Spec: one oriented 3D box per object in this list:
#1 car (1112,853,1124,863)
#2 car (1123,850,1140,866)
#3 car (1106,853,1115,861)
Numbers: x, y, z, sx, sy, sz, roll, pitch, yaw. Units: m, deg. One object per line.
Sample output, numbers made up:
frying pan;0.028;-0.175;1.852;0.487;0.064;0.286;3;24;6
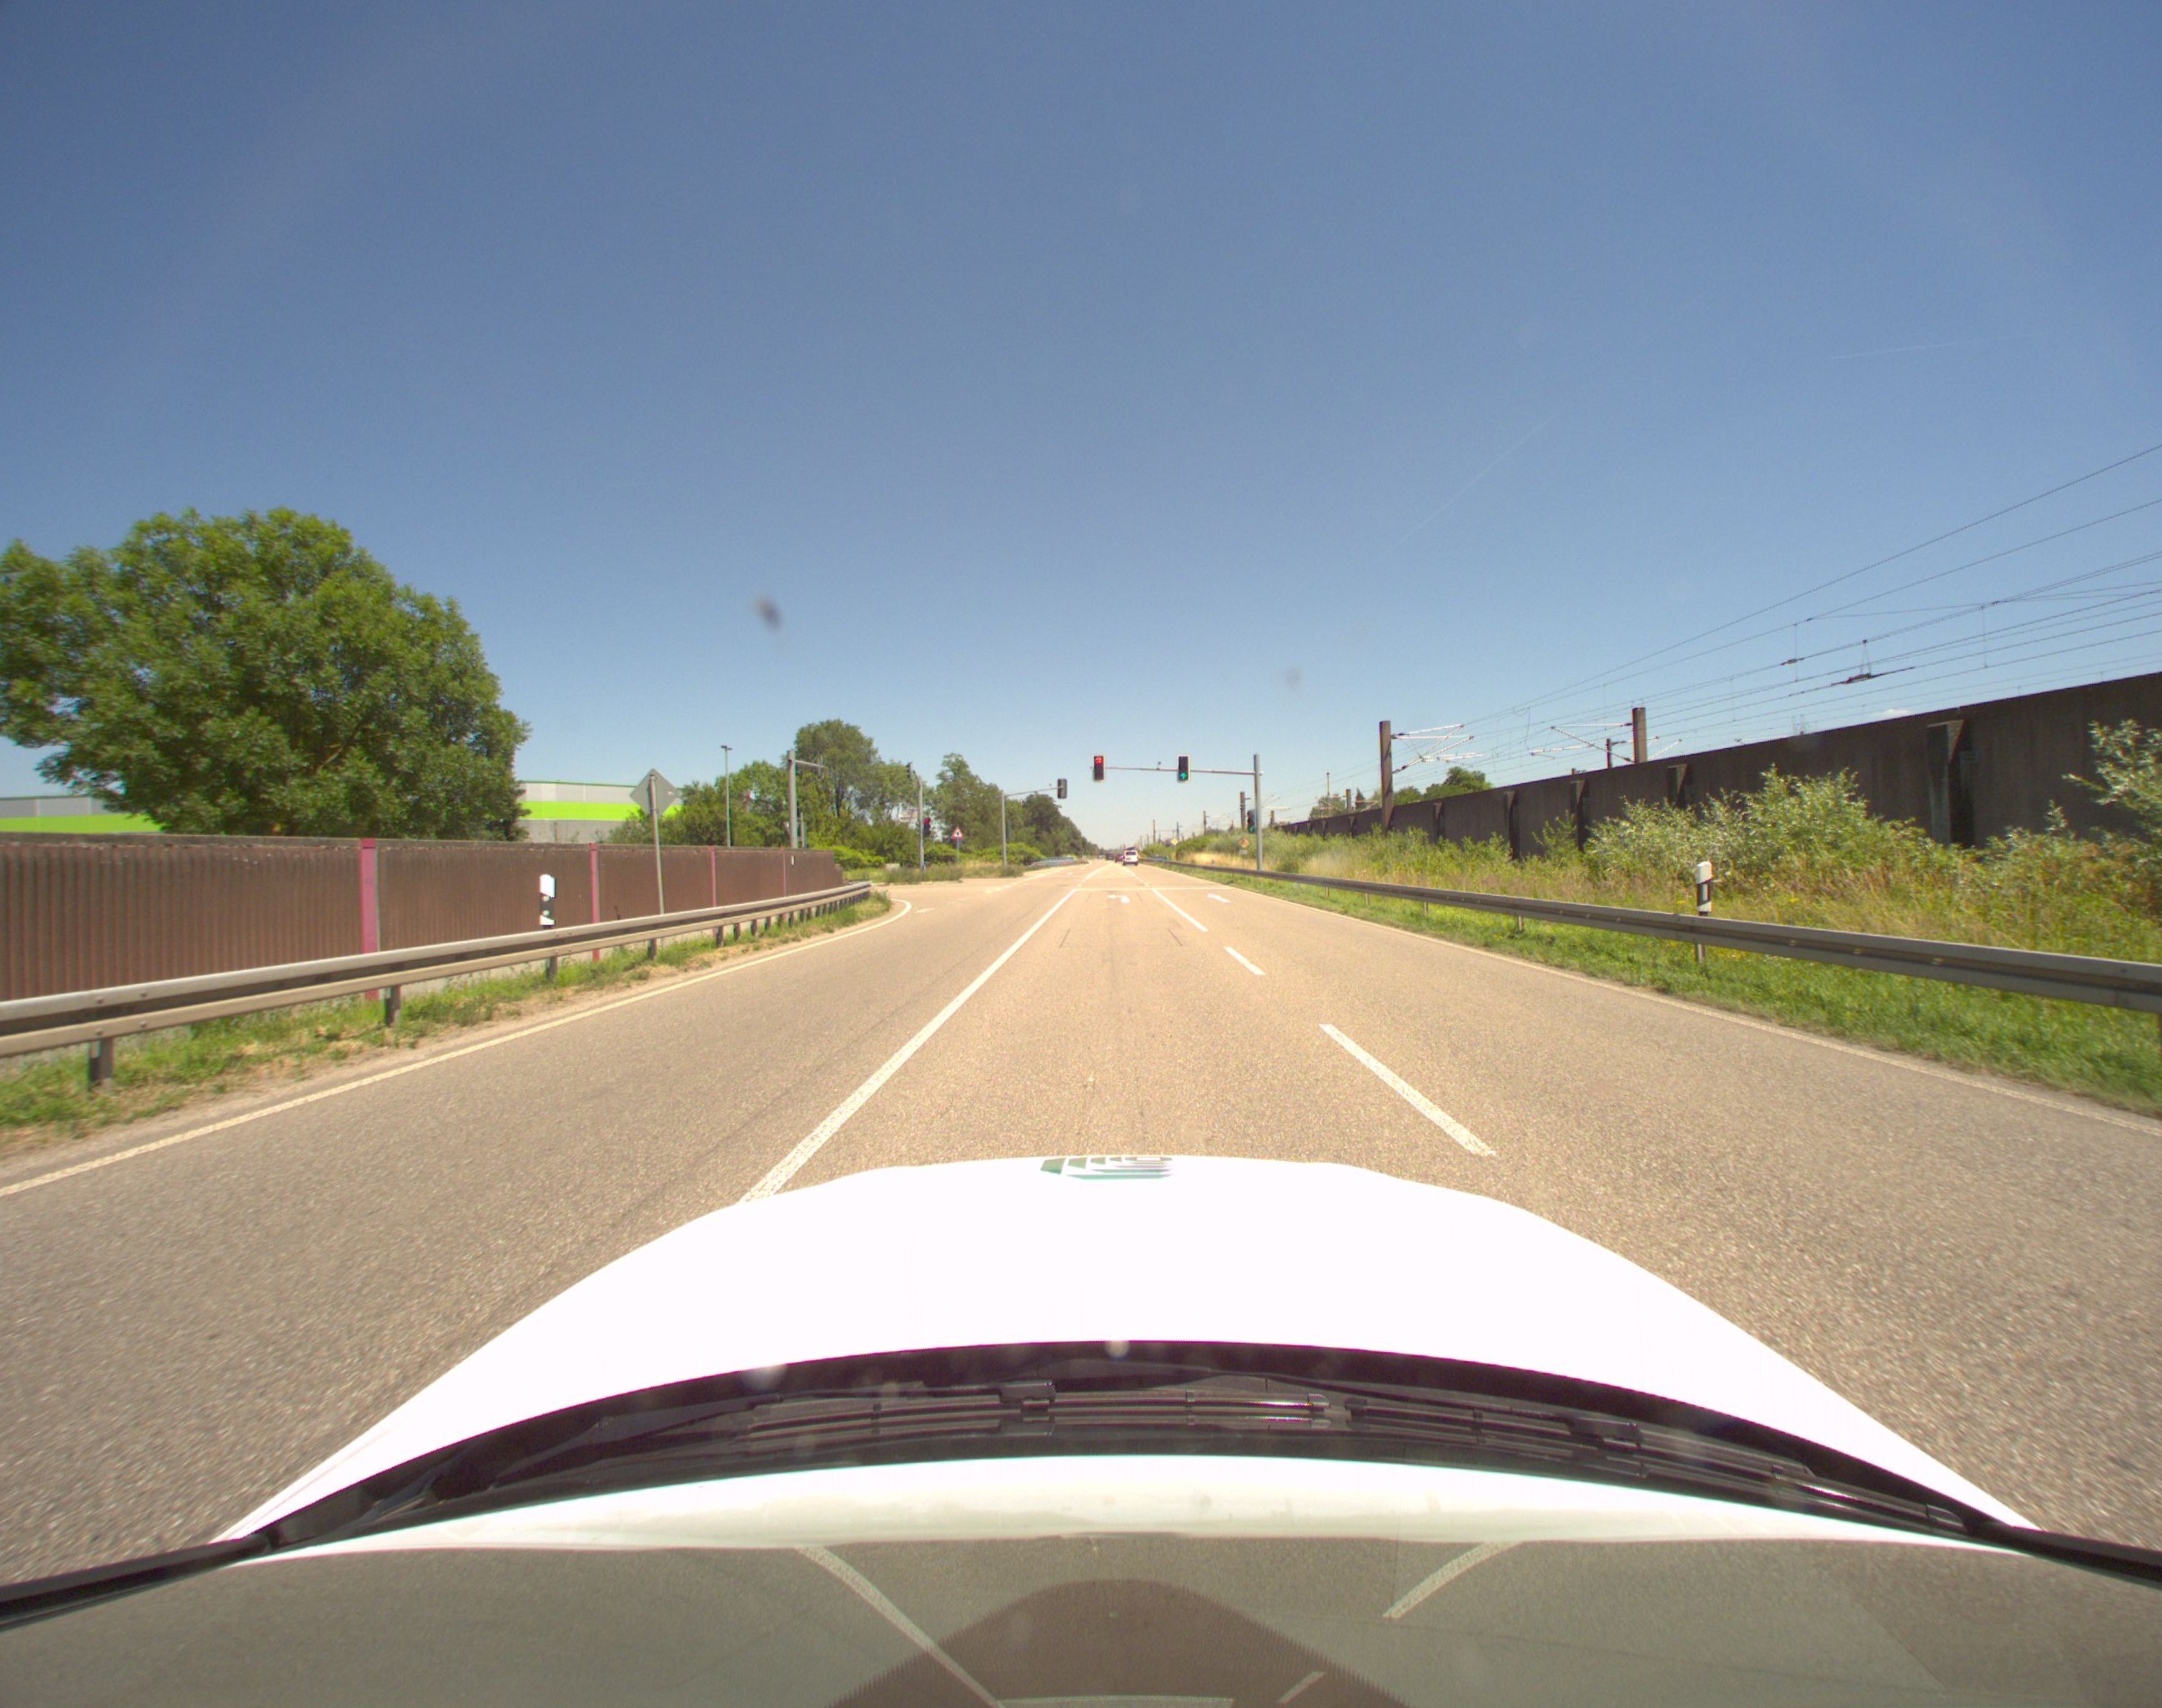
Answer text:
car;6.660;0.712;147.854;2.013;1.726;4.542;-1;0;0
car;6.500;0.525;105.003;1.987;1.983;4.060;0;0;1
car;7.448;0.716;204.469;2.148;1.968;4.542;-1;0;0
